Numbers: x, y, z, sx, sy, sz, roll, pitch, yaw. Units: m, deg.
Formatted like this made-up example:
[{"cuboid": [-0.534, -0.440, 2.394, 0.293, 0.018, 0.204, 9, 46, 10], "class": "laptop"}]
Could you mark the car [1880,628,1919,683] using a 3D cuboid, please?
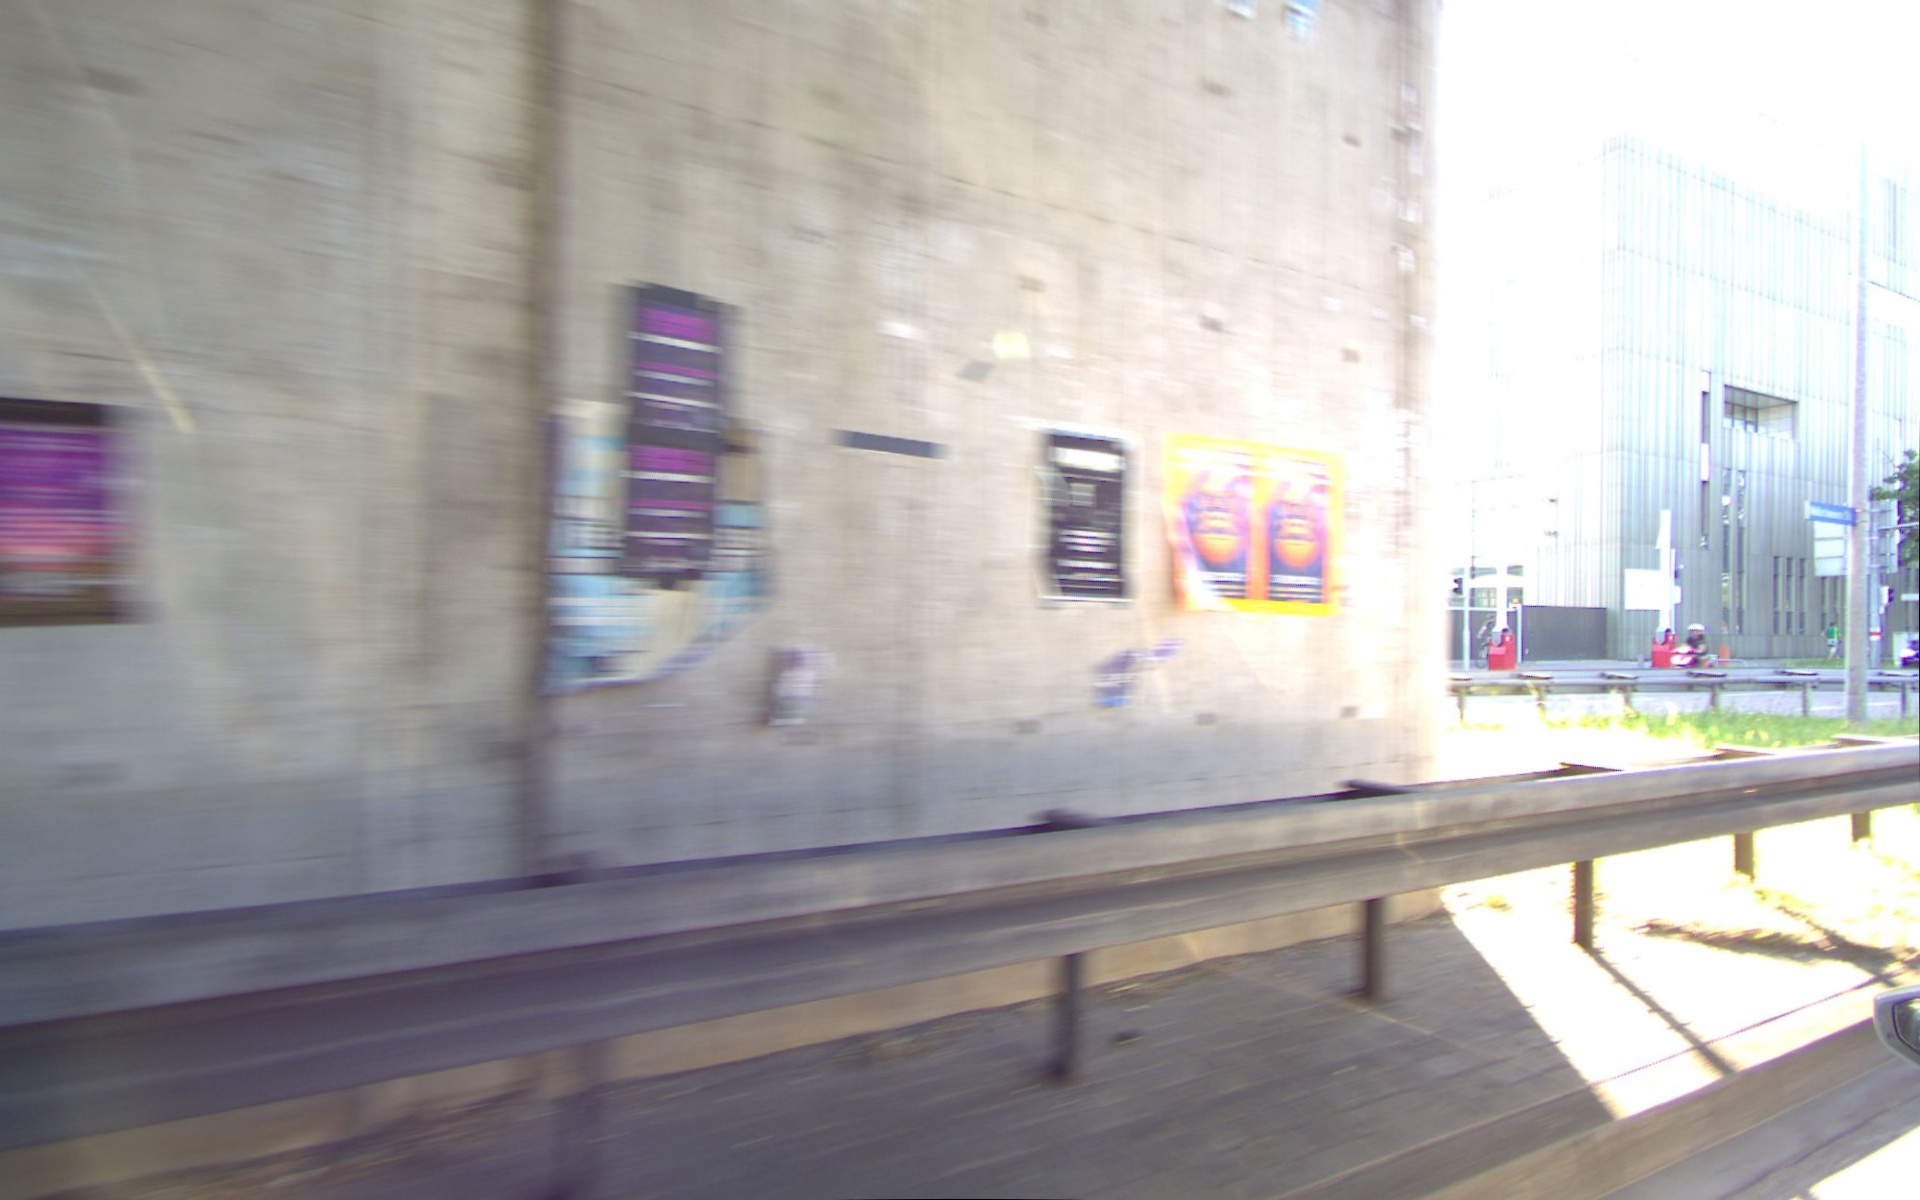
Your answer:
[{"cuboid": [32.248, 1.818, 32.725, 4.625, 1.718, 1.985, 2, -5, -30], "class": "car"}]

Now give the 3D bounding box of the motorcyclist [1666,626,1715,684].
[{"cuboid": [18.925, 1.426, 26.024, 0.856, 1.443, 0.679, 2, 0, -26], "class": "motorcyclist"}]

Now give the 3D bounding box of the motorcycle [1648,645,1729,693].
[{"cuboid": [18.840, 1.783, 25.978, 2.208, 1.171, 0.678, 2, 0, -25], "class": "motorcycle"}]

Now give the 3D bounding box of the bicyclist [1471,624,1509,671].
[{"cuboid": [18.458, 1.665, 34.984, 0.926, 1.584, 0.722, 2, 0, -24], "class": "bicyclist"}]

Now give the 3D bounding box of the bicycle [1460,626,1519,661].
[{"cuboid": [18.463, 1.507, 35.005, 2.052, 1.172, 0.703, 0, 1, -24], "class": "bicycle"}]
